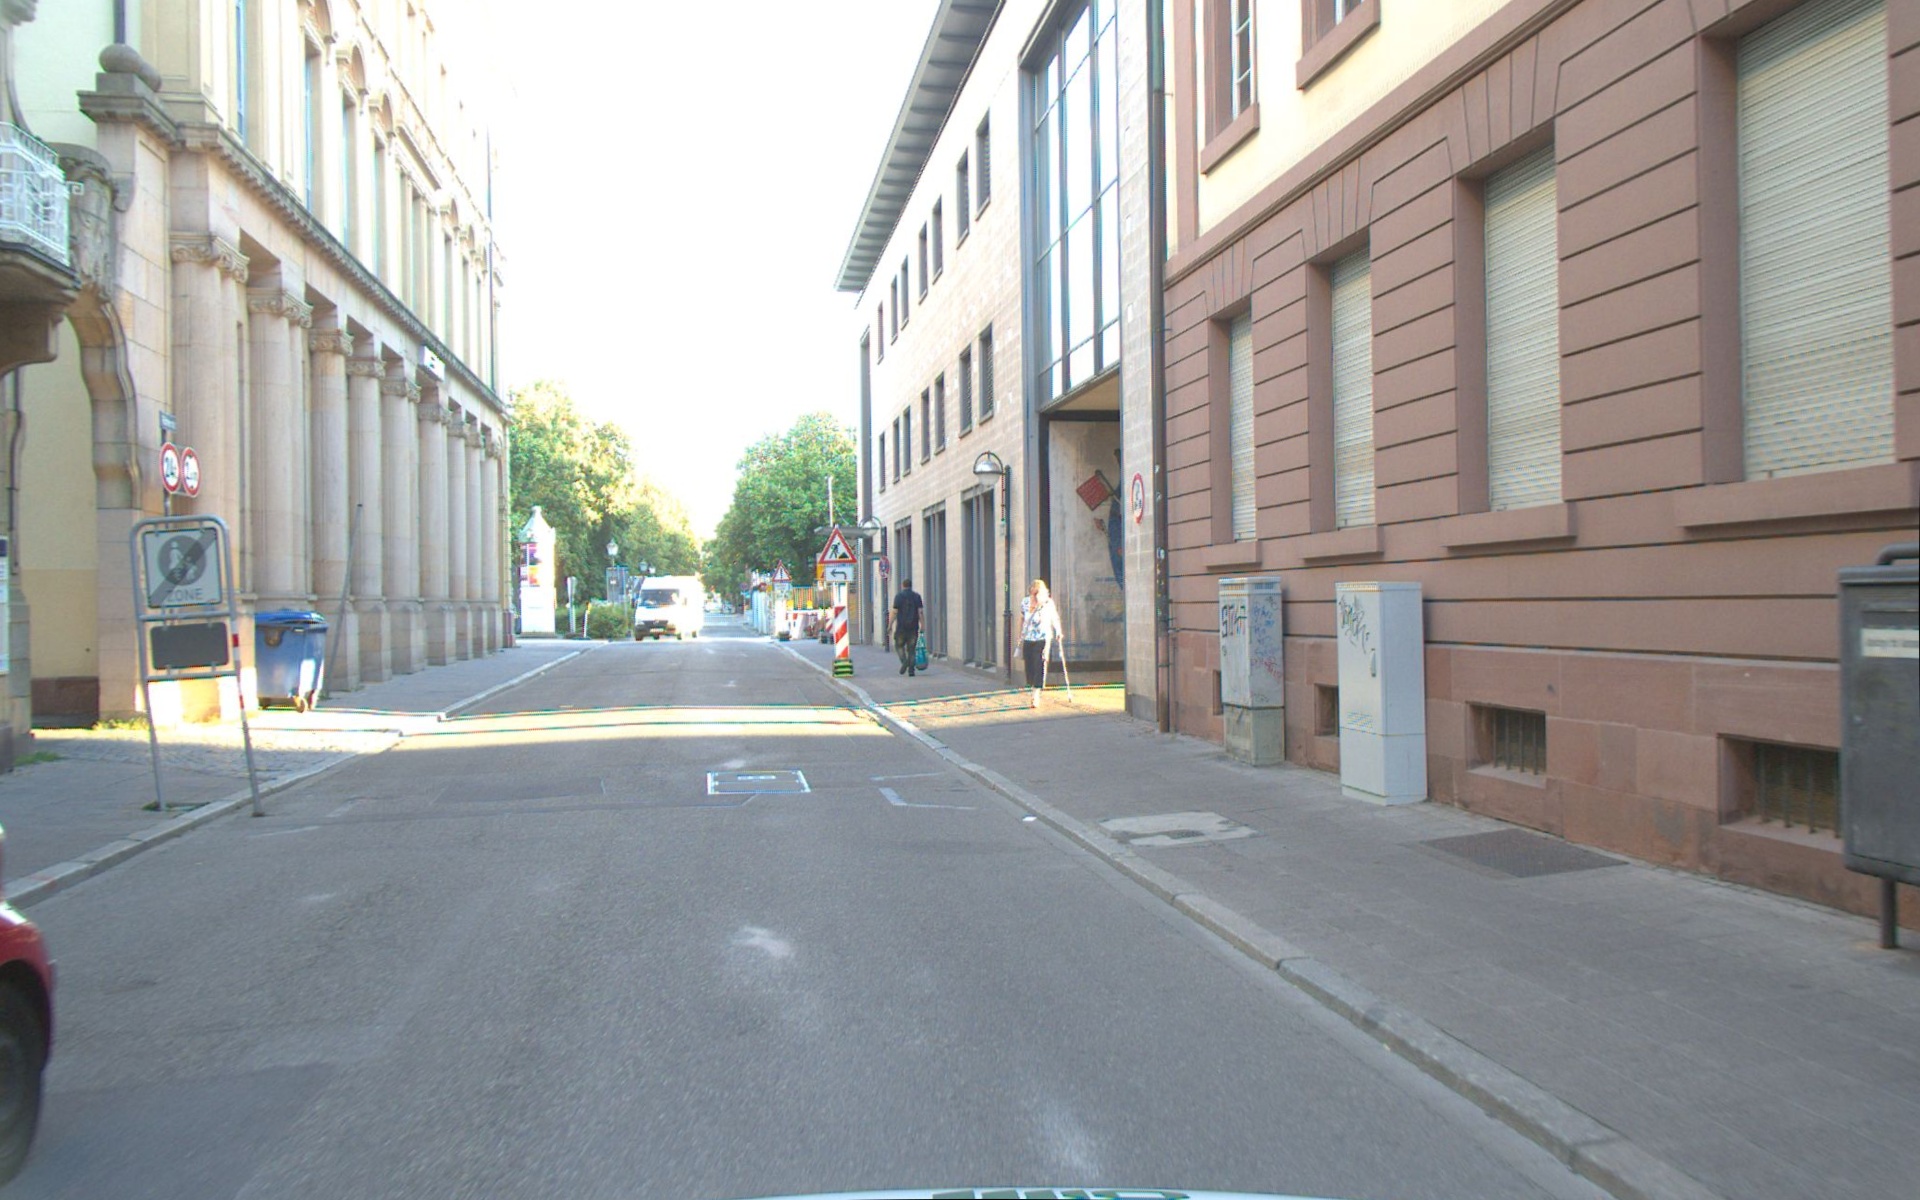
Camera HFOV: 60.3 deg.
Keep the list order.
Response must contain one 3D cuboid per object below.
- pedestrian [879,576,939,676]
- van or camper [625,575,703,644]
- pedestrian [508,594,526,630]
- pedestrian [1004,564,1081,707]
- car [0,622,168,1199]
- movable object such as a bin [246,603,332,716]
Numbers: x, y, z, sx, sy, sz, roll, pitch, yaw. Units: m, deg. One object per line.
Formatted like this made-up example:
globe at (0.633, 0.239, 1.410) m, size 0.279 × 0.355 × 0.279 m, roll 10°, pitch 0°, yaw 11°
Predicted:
pedestrian at (-0.969, 0.492, 31.227) m, size 0.982 × 1.835 × 0.879 m, roll -2°, pitch -1°, yaw -10°
van or camper at (-11.912, 0.368, 66.988) m, size 2.174 × 2.630 × 6.369 m, roll -1°, pitch 0°, yaw -2°
pedestrian at (-23.037, 0.636, 85.980) m, size 0.838 × 1.839 × 0.659 m, roll 0°, pitch -1°, yaw -22°
pedestrian at (1.098, 0.472, 22.230) m, size 0.829 × 1.834 × 0.896 m, roll -3°, pitch 0°, yaw -4°
car at (-3.201, 0.866, 3.363) m, size 1.627 × 1.495 × 3.925 m, roll -5°, pitch 0°, yaw -8°
movable object such as a bin at (-9.389, 0.813, 23.193) m, size 0.813 × 1.529 × 1.289 m, roll 0°, pitch 0°, yaw -8°
